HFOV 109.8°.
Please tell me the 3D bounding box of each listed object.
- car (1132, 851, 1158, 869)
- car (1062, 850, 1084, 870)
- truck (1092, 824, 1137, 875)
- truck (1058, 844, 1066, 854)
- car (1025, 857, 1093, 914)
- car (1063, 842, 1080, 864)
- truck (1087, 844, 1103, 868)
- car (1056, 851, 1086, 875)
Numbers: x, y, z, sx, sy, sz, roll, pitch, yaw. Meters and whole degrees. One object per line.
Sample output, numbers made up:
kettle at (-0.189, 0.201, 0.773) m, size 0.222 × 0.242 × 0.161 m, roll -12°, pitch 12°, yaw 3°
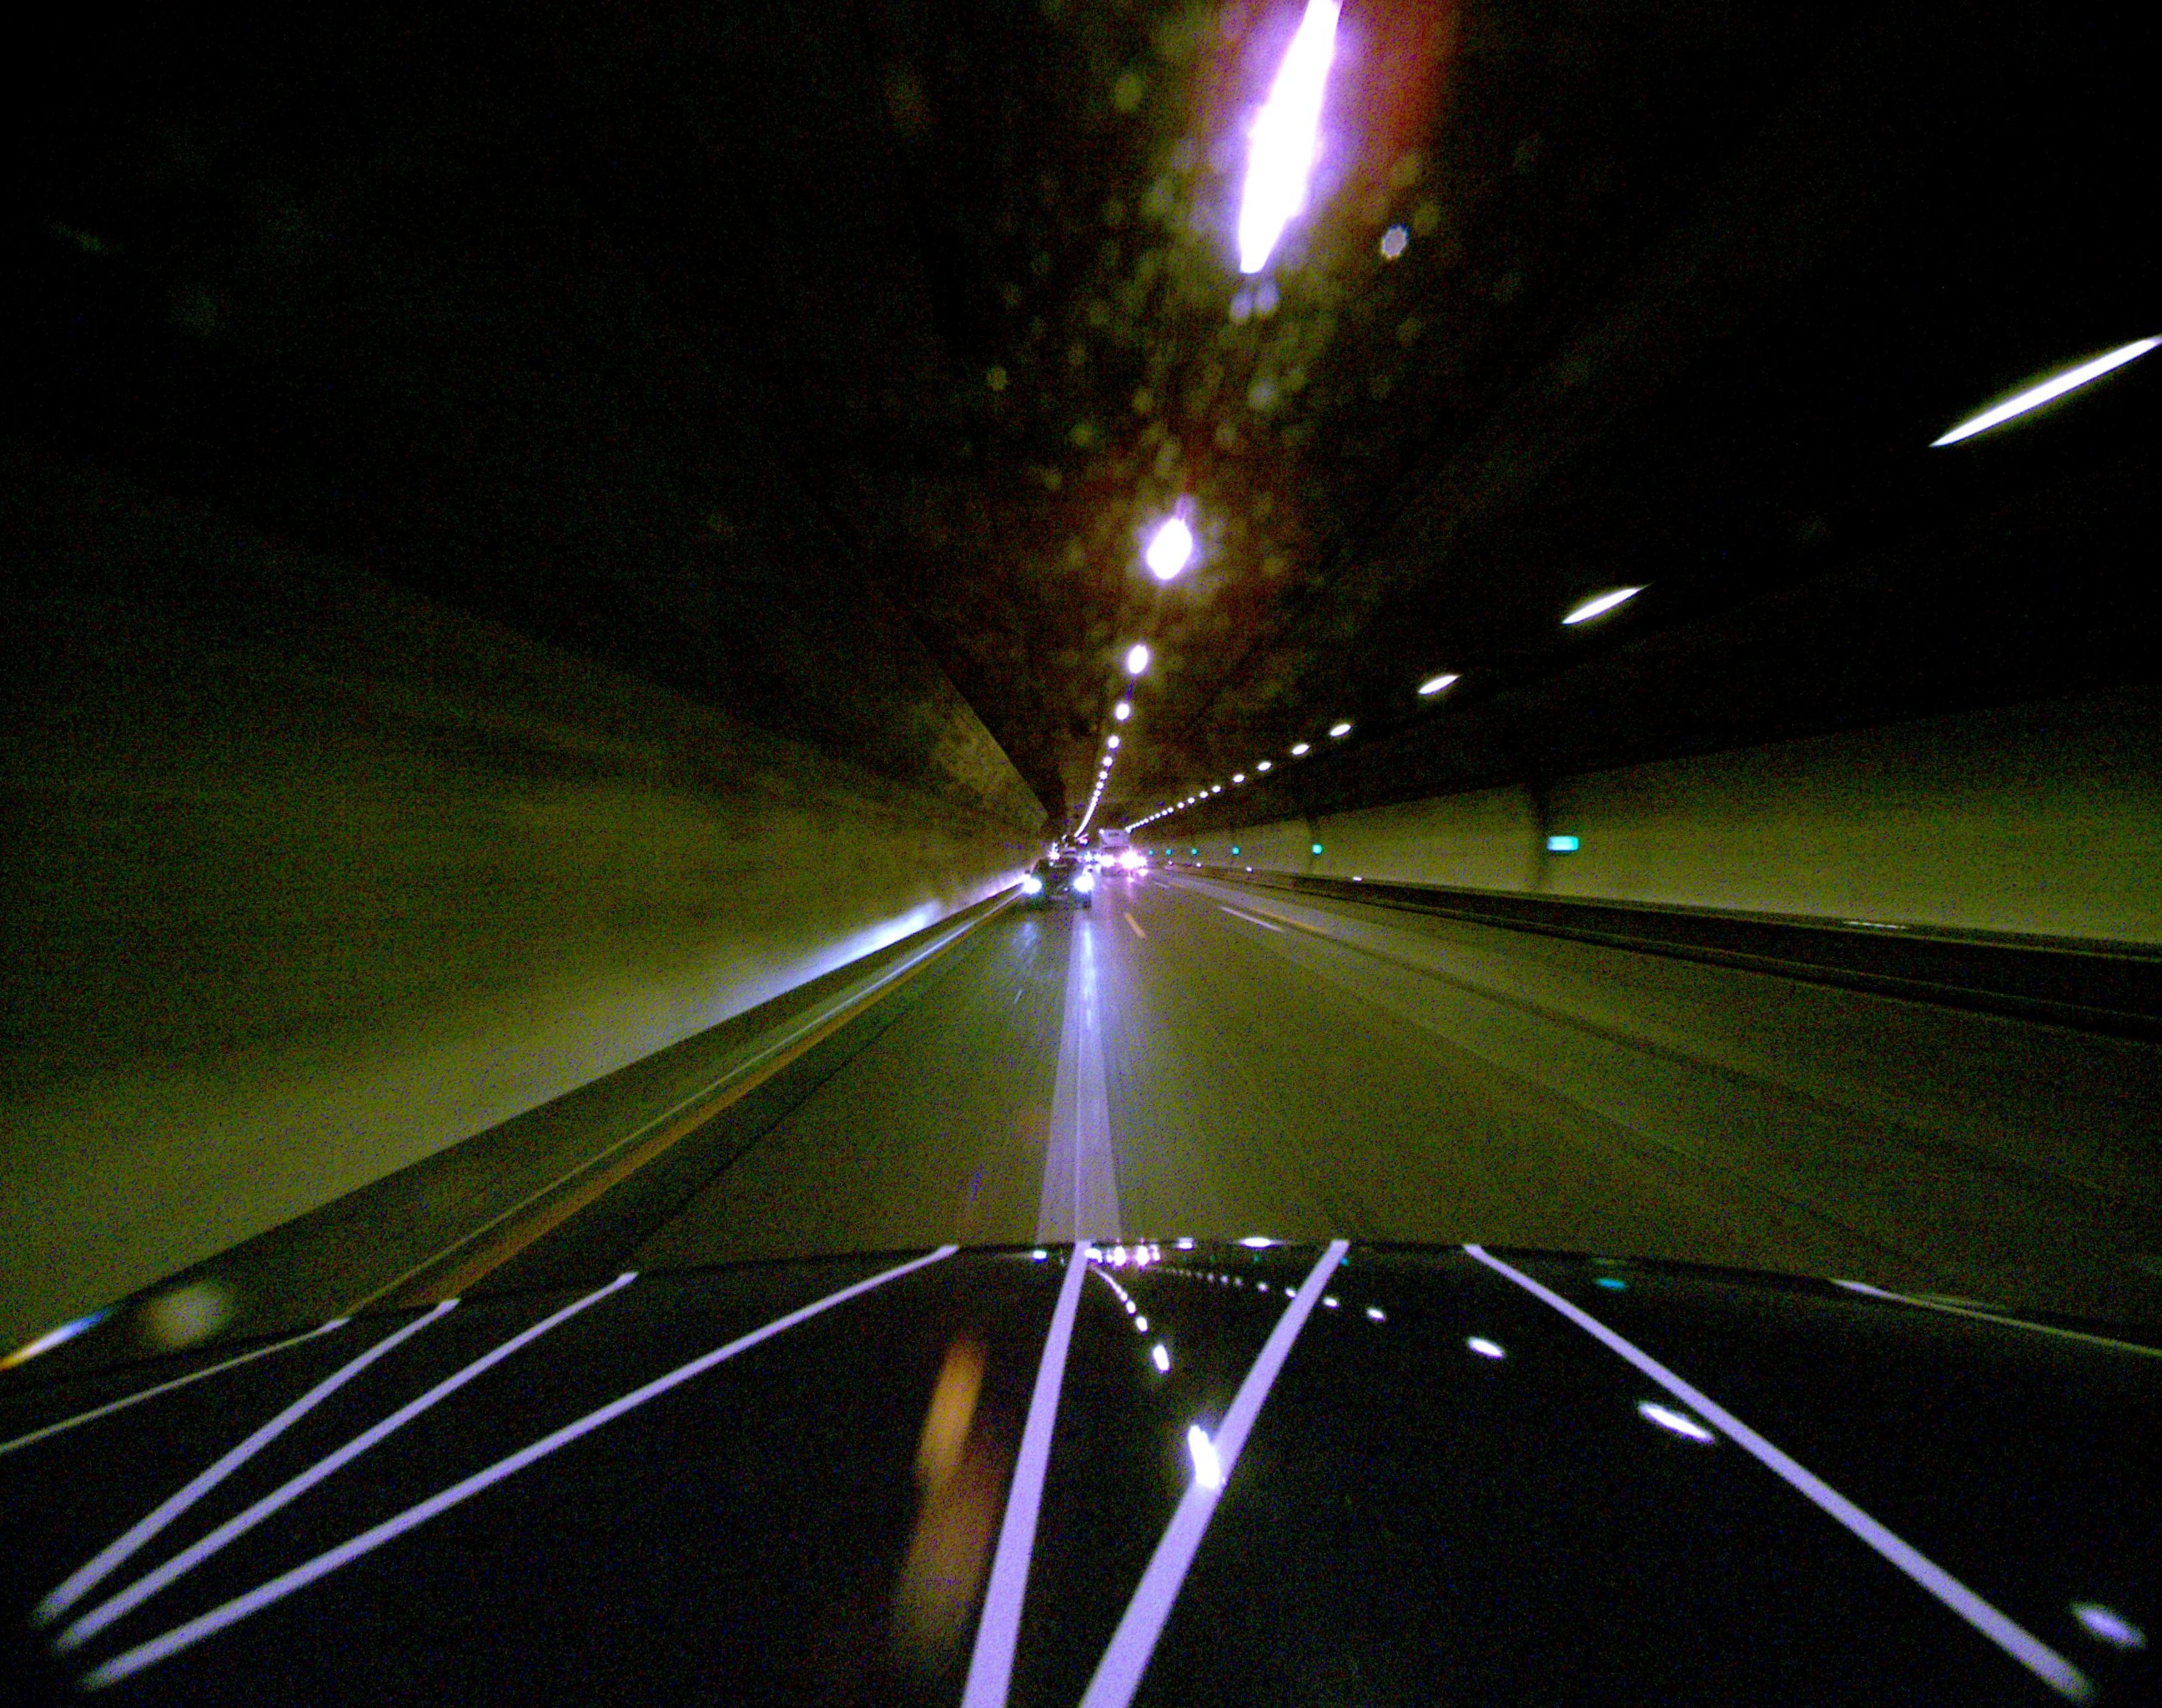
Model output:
car at (5.767, 0.499, 68.873) m, size 1.998 × 1.531 × 4.851 m, roll -2°, pitch 1°, yaw 2°
car at (-0.859, 0.622, 78.976) m, size 1.999 × 2.002 × 4.852 m, roll -2°, pitch 0°, yaw -3°
truck at (2.292, -0.296, 54.105) m, size 2.534 × 3.314 × 7.714 m, roll -2°, pitch 0°, yaw -2°
truck at (-6.458, -1.823, 263.039) m, size 2.208 × 3.449 × 11.766 m, roll -1°, pitch 0°, yaw 2°
car at (-0.676, 0.877, 23.176) m, size 1.826 × 1.469 × 4.520 m, roll -2°, pitch 0°, yaw -2°
car at (-1.289, -0.171, 101.739) m, size 1.999 × 2.710 × 6.272 m, roll -2°, pitch 1°, yaw -2°
truck at (1.978, 0.244, 106.933) m, size 2.162 × 3.098 × 6.030 m, roll -2°, pitch 1°, yaw 1°
car at (-0.792, 0.618, 54.383) m, size 1.999 × 1.531 × 4.741 m, roll -2°, pitch 1°, yaw -2°
